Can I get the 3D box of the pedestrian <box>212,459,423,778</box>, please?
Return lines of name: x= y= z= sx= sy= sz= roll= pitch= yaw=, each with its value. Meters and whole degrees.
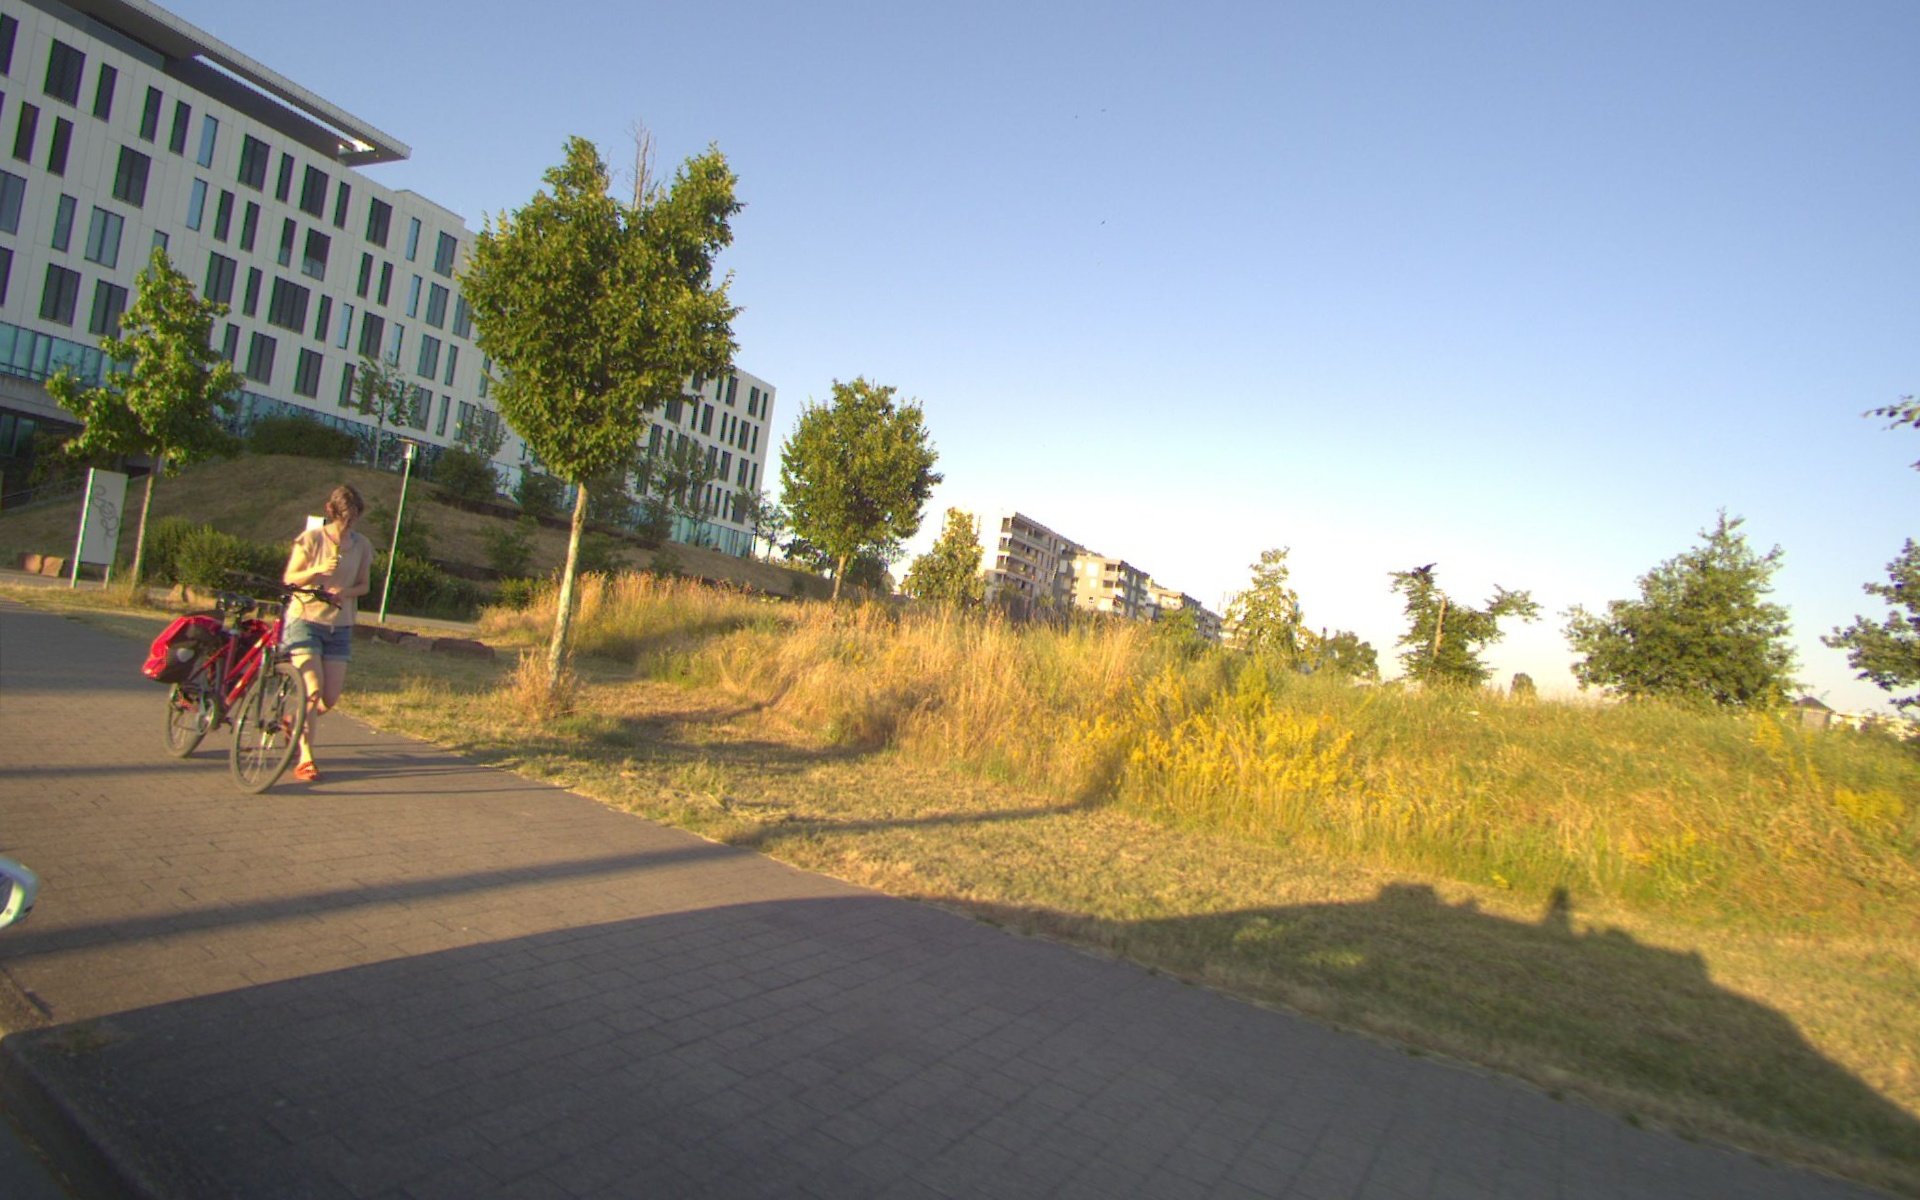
pedestrian: x=-3.977 y=0.112 z=6.231 sx=0.805 sy=1.822 sz=0.595 roll=8 pitch=-2 yaw=35

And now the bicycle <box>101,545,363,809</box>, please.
bicycle: x=-4.231 y=0.385 z=5.785 sx=1.909 sy=1.181 sz=0.451 roll=8 pitch=-2 yaw=34
